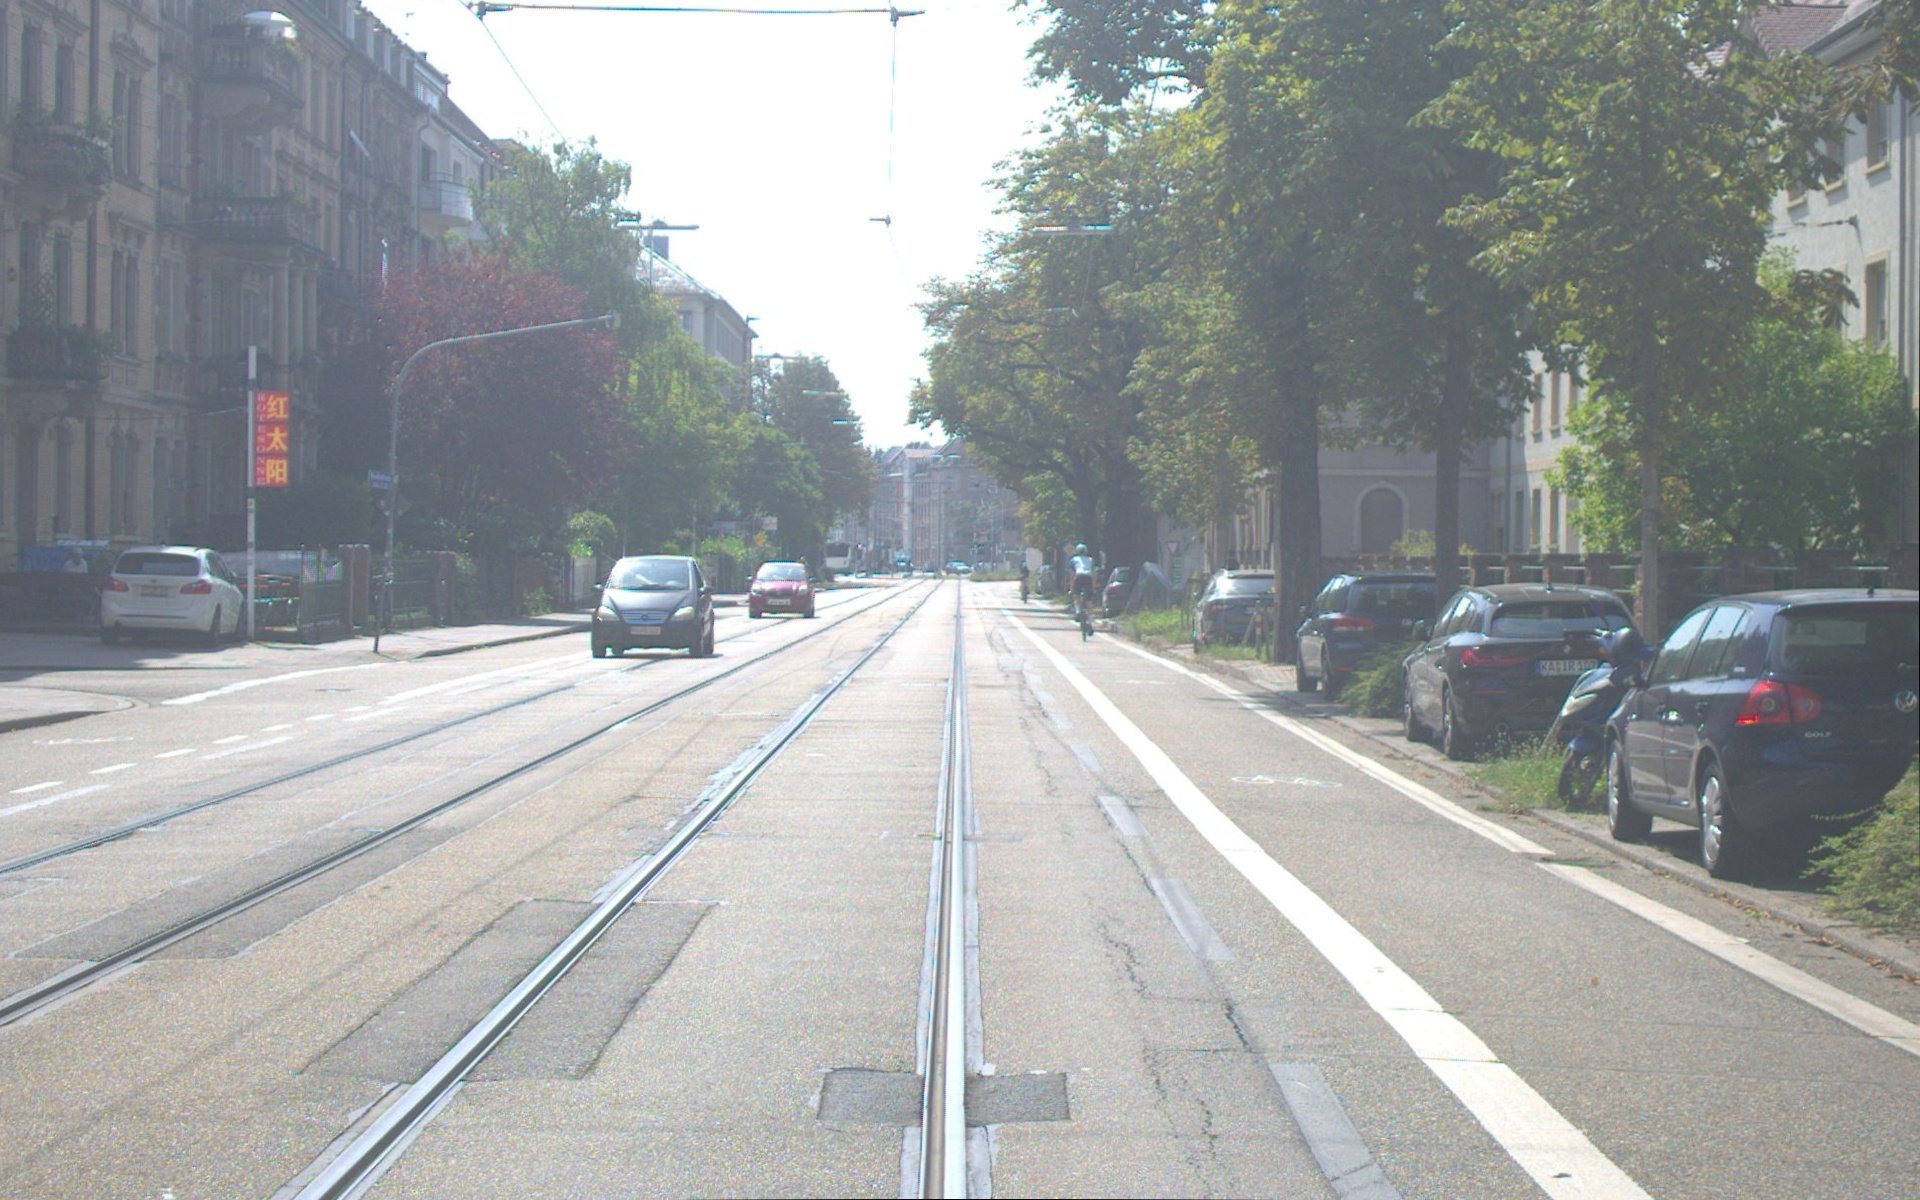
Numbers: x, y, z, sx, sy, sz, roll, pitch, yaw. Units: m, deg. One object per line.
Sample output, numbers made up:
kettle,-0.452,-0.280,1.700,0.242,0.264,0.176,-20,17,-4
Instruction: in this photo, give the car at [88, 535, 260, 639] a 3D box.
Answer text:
car,-12.584,-0.231,55.256,1.993,1.589,4.360,1,1,-3

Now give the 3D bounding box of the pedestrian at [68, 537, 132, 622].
pedestrian,-15.471,-0.379,61.856,0.883,1.506,0.870,1,1,-31

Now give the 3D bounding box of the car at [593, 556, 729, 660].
car,-4.677,0.096,54.260,1.827,1.535,4.000,0,1,0

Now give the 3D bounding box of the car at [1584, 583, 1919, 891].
car,4.635,0.670,19.109,1.617,1.472,4.039,0,1,0

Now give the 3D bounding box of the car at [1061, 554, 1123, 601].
car,4.386,-0.756,114.534,1.840,1.527,4.780,0,1,0

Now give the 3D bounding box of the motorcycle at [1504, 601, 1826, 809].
motorcycle,4.796,0.708,23.462,2.003,1.363,0.782,1,1,-2

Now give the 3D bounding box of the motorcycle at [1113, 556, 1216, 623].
motorcycle,4.863,-0.241,81.845,2.344,1.535,0.966,-1,-1,42

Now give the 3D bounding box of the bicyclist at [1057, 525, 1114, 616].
bicyclist,2.577,-0.607,70.864,1.125,1.830,0.956,1,0,1

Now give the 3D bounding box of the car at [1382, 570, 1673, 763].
car,4.832,0.517,29.865,1.755,1.472,4.457,-3,0,0

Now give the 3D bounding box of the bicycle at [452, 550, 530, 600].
bicycle,-11.861,-0.639,86.986,1.813,1.178,0.716,2,0,2

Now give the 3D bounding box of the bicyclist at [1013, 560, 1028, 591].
bicyclist,2.478,-0.999,139.738,0.579,1.274,0.471,1,0,2

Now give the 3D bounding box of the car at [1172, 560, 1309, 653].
car,4.737,0.080,58.614,1.892,1.472,4.840,1,1,0

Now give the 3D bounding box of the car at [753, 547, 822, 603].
car,-4.711,-0.707,94.291,1.732,1.485,4.000,0,1,0

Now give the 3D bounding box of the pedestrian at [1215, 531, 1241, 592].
pedestrian,8.234,-1.181,105.663,0.706,1.885,0.714,1,0,2

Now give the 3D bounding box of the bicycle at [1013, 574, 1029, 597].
bicycle,2.474,-0.598,139.750,0.588,0.936,2.171,1,0,2

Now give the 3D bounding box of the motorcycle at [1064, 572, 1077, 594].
motorcycle,5.348,-0.836,167.183,0.549,1.064,2.330,1,0,0

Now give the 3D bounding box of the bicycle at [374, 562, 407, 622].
bicycle,-10.705,-0.159,64.679,0.390,1.095,1.569,1,1,-2

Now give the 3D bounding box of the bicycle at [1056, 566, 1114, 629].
bicycle,2.574,-0.065,71.070,1.148,1.265,2.712,1,1,2

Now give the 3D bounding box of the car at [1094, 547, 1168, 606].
car,4.841,-0.684,97.727,1.840,1.527,4.115,1,2,0

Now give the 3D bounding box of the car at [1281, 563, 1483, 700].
car,4.890,0.326,40.323,1.755,1.472,4.387,1,1,-1
